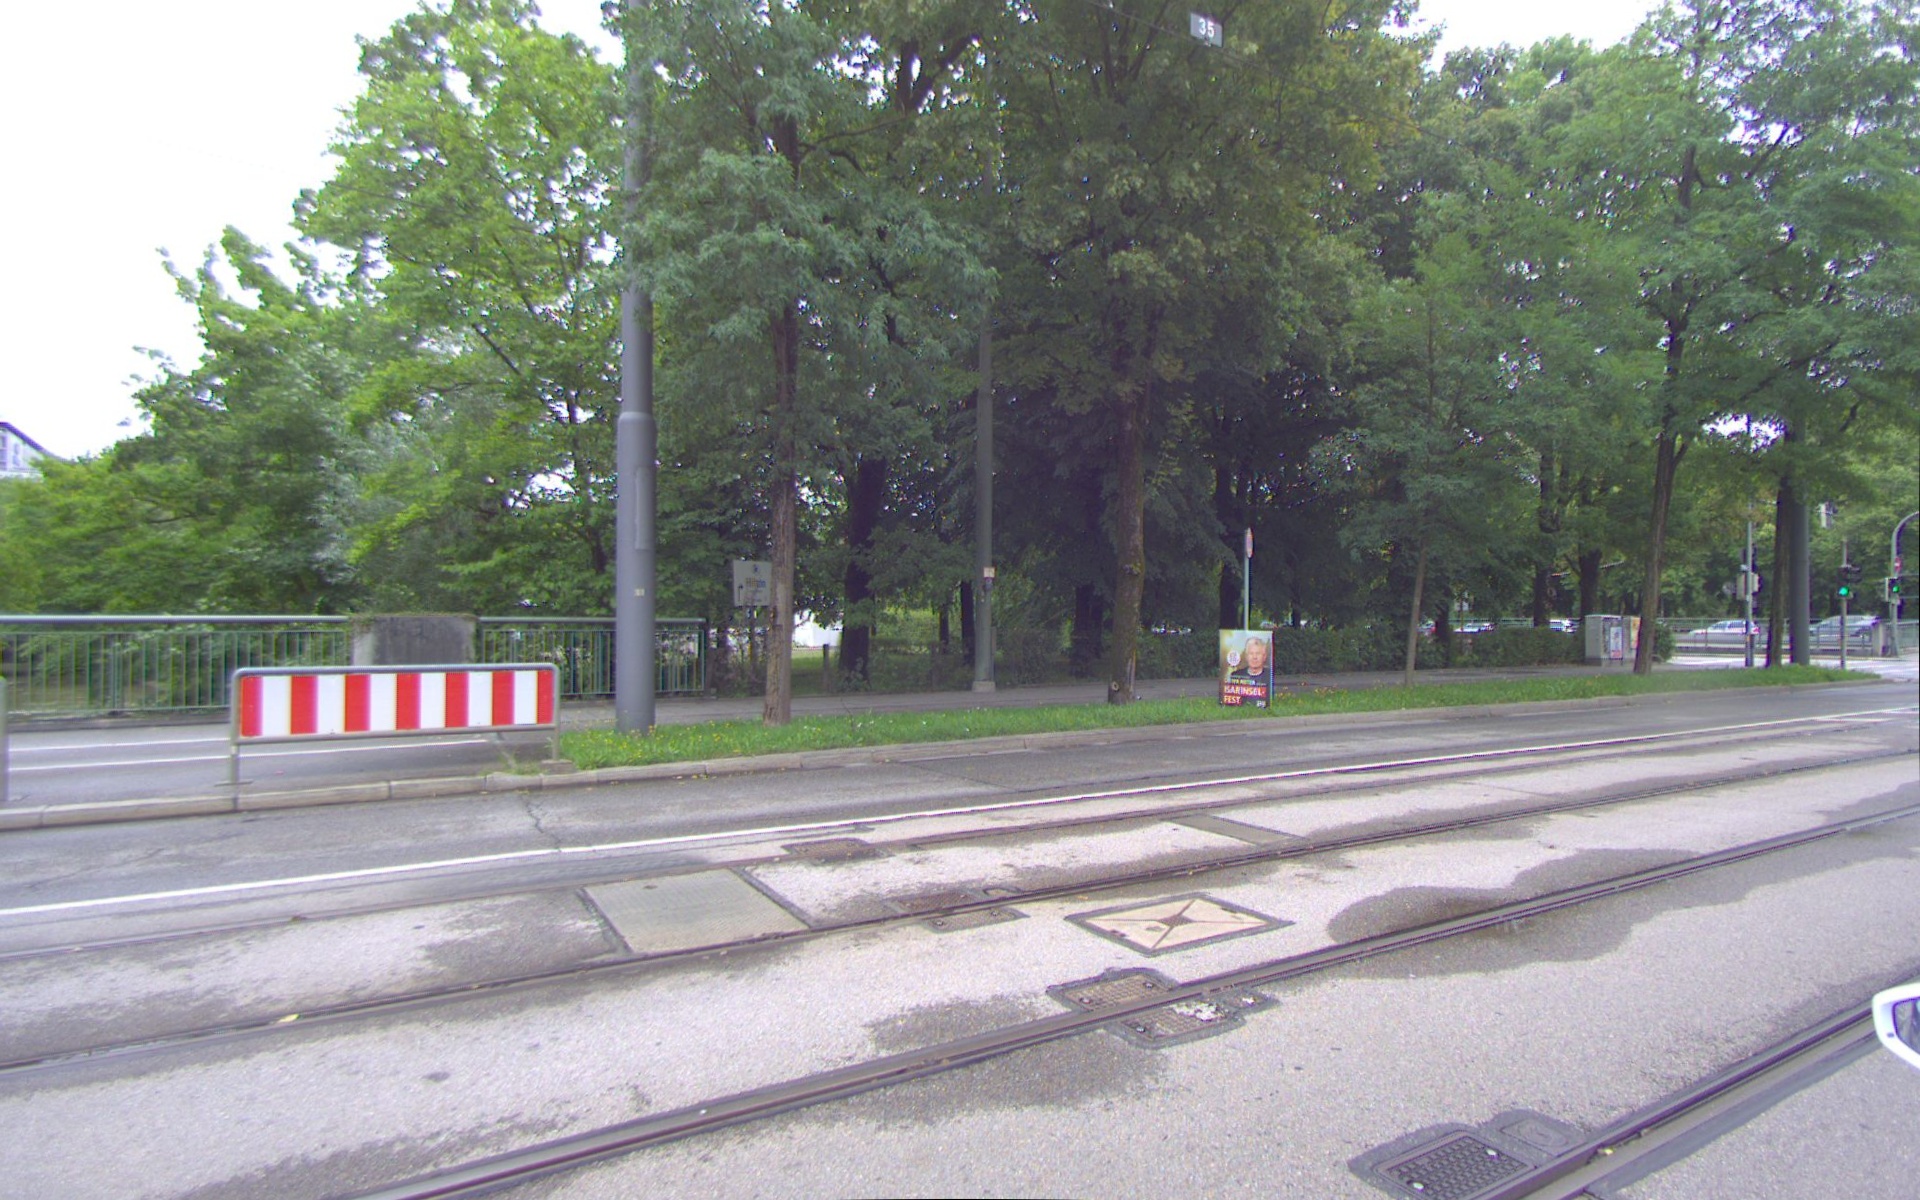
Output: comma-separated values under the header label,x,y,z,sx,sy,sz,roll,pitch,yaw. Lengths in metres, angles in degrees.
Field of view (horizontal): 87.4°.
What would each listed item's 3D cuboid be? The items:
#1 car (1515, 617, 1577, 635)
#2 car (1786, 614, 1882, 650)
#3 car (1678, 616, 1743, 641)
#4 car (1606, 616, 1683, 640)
label,x,y,z,sx,sy,sz,roll,pitch,yaw
car,42.544,1.871,72.983,1.238,1.201,3.704,1,1,-34
car,51.592,1.870,59.361,1.476,1.912,3.994,1,1,-36
car,48.078,1.802,64.367,1.238,1.471,3.090,1,1,-34
car,46.009,1.851,67.585,1.703,1.423,3.900,1,0,-34
